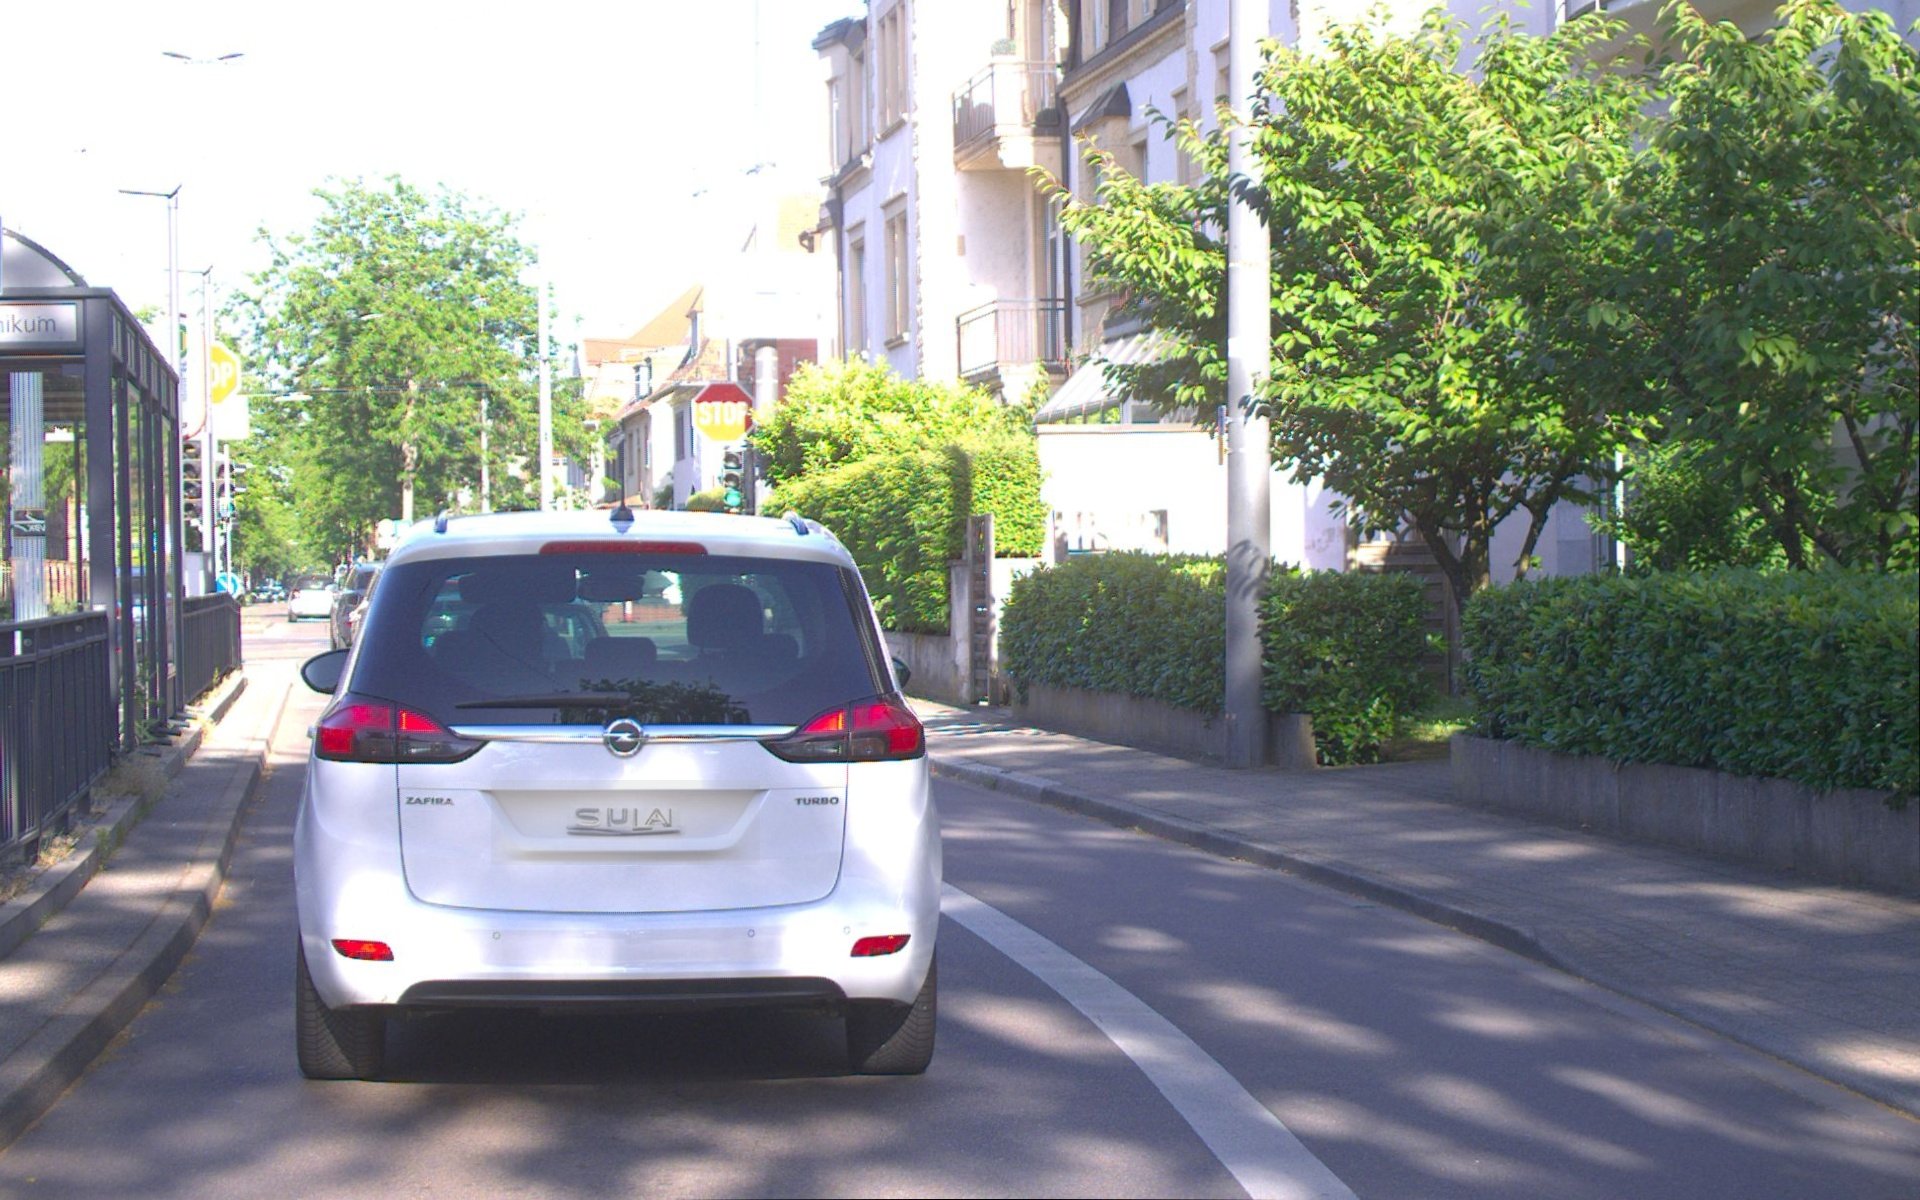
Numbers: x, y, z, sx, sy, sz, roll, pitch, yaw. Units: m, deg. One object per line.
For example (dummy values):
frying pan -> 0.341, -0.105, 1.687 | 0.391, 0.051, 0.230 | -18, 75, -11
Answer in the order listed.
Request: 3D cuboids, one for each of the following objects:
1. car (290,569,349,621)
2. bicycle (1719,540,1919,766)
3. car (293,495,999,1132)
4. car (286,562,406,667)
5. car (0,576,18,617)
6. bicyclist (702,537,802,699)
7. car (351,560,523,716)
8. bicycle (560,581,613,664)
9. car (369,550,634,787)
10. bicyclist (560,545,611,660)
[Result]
car -> -21.562, -0.175, 115.784 | 1.775, 1.687, 3.881 | 0, 0, -8
bicycle -> 5.488, 0.267, 19.998 | 1.840, 1.199, 0.825 | -4, 1, -11
car -> -1.133, 0.541, 10.941 | 1.834, 1.636, 3.919 | 0, 0, -10
car -> -9.950, 0.223, 55.925 | 1.775, 1.626, 3.881 | 0, 0, -8
car -> -38.312, -0.131, 135.025 | 1.993, 1.590, 4.001 | 0, 0, -8
bicyclist -> -1.963, 0.162, 32.335 | 0.821, 1.496, 0.934 | 0, 0, -11
car -> -5.864, 0.395, 38.254 | 1.775, 1.626, 3.881 | 0, 0, -10
bicycle -> -5.328, 0.310, 48.991 | 0.685, 1.153, 1.620 | 0, 0, -8
car -> -3.099, 0.395, 23.090 | 1.586, 1.415, 3.901 | -1, 1, -8
bicyclist -> -5.348, 0.034, 49.090 | 0.685, 1.629, 1.016 | 0, 0, -8
